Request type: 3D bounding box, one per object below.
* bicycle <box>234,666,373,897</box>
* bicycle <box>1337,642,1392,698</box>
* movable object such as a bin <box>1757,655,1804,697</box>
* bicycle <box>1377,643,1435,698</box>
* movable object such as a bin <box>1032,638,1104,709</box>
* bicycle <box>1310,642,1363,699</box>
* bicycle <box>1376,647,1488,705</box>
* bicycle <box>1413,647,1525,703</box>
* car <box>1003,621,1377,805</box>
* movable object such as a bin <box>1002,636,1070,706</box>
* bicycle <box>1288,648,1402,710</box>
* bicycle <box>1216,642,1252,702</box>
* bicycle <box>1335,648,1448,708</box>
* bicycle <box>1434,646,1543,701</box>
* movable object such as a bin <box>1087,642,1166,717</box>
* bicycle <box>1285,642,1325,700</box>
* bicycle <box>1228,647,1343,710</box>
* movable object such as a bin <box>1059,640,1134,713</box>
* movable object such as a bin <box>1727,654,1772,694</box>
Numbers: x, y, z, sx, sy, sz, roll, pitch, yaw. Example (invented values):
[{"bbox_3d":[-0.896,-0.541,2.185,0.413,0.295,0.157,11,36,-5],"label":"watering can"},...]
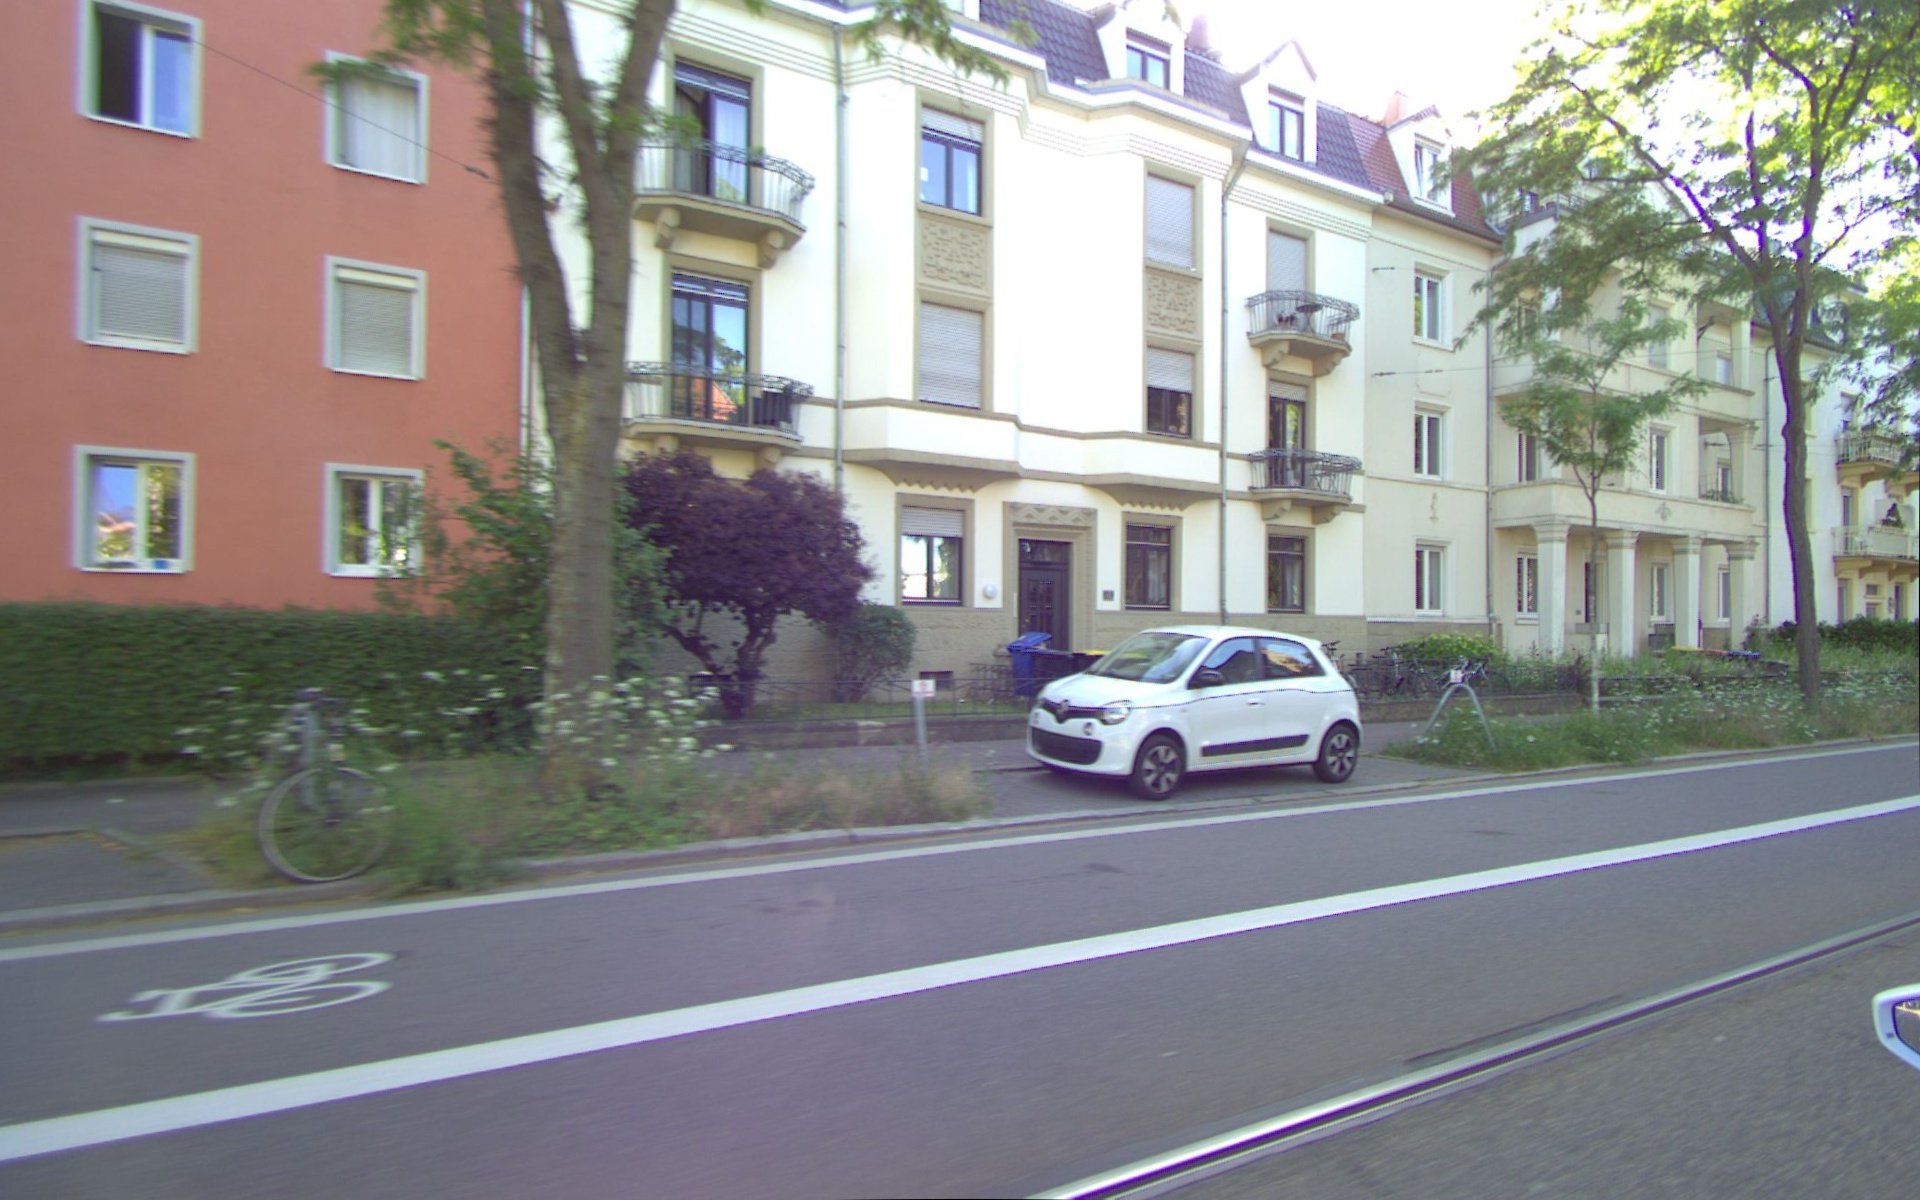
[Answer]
[{"bbox_3d":[-4.025,1.023,6.260,0.536,1.136,1.805,1,-1,-28],"label":"bicycle"},{"bbox_3d":[8.453,1.437,21.036,0.547,1.010,1.863,0,1,5],"label":"bicycle"},{"bbox_3d":[19.352,1.780,23.705,0.731,0.934,0.625,1,0,-29],"label":"movable object such as a bin"},{"bbox_3d":[9.405,1.456,21.236,0.547,1.010,1.863,0,1,5],"label":"bicycle"},{"bbox_3d":[1.726,1.160,16.070,0.885,1.099,0.734,1,-2,-29],"label":"movable object such as a bin"},{"bbox_3d":[7.749,1.428,20.733,0.547,1.010,1.863,0,1,5],"label":"bicycle"},{"bbox_3d":[8.752,1.400,18.679,1.825,1.010,0.558,0,-1,18],"label":"bicycle"},{"bbox_3d":[9.669,1.412,19.134,1.825,1.010,0.558,0,-1,18],"label":"bicycle"},{"bbox_3d":[2.410,1.033,10.319,3.648,1.555,1.617,2,-1,-31],"label":"car"},{"bbox_3d":[1.273,1.174,16.867,0.885,1.128,0.734,1,-2,-29],"label":"movable object such as a bin"},{"bbox_3d":[6.749,1.368,17.626,1.828,1.010,0.557,0,-1,27],"label":"bicycle"},{"bbox_3d":[5.271,1.365,19.377,0.547,1.010,1.863,1,1,12],"label":"bicycle"},{"bbox_3d":[7.776,1.391,18.180,1.825,1.010,0.558,0,-1,18],"label":"bicycle"},{"bbox_3d":[10.318,1.423,19.673,1.825,1.010,0.558,0,-1,18],"label":"bicycle"},{"bbox_3d":[2.440,1.151,14.736,0.885,1.055,0.734,1,-2,-29],"label":"movable object such as a bin"},{"bbox_3d":[6.940,1.400,20.263,0.547,1.010,1.863,1,1,12],"label":"bicycle"},{"bbox_3d":[5.646,1.347,17.460,1.830,1.010,0.557,0,-2,33],"label":"bicycle"},{"bbox_3d":[2.091,1.156,15.402,0.885,1.068,0.734,1,-2,-29],"label":"movable object such as a bin"},{"bbox_3d":[19.188,1.786,24.415,0.731,0.934,0.625,1,0,-29],"label":"movable object such as a bin"}]
